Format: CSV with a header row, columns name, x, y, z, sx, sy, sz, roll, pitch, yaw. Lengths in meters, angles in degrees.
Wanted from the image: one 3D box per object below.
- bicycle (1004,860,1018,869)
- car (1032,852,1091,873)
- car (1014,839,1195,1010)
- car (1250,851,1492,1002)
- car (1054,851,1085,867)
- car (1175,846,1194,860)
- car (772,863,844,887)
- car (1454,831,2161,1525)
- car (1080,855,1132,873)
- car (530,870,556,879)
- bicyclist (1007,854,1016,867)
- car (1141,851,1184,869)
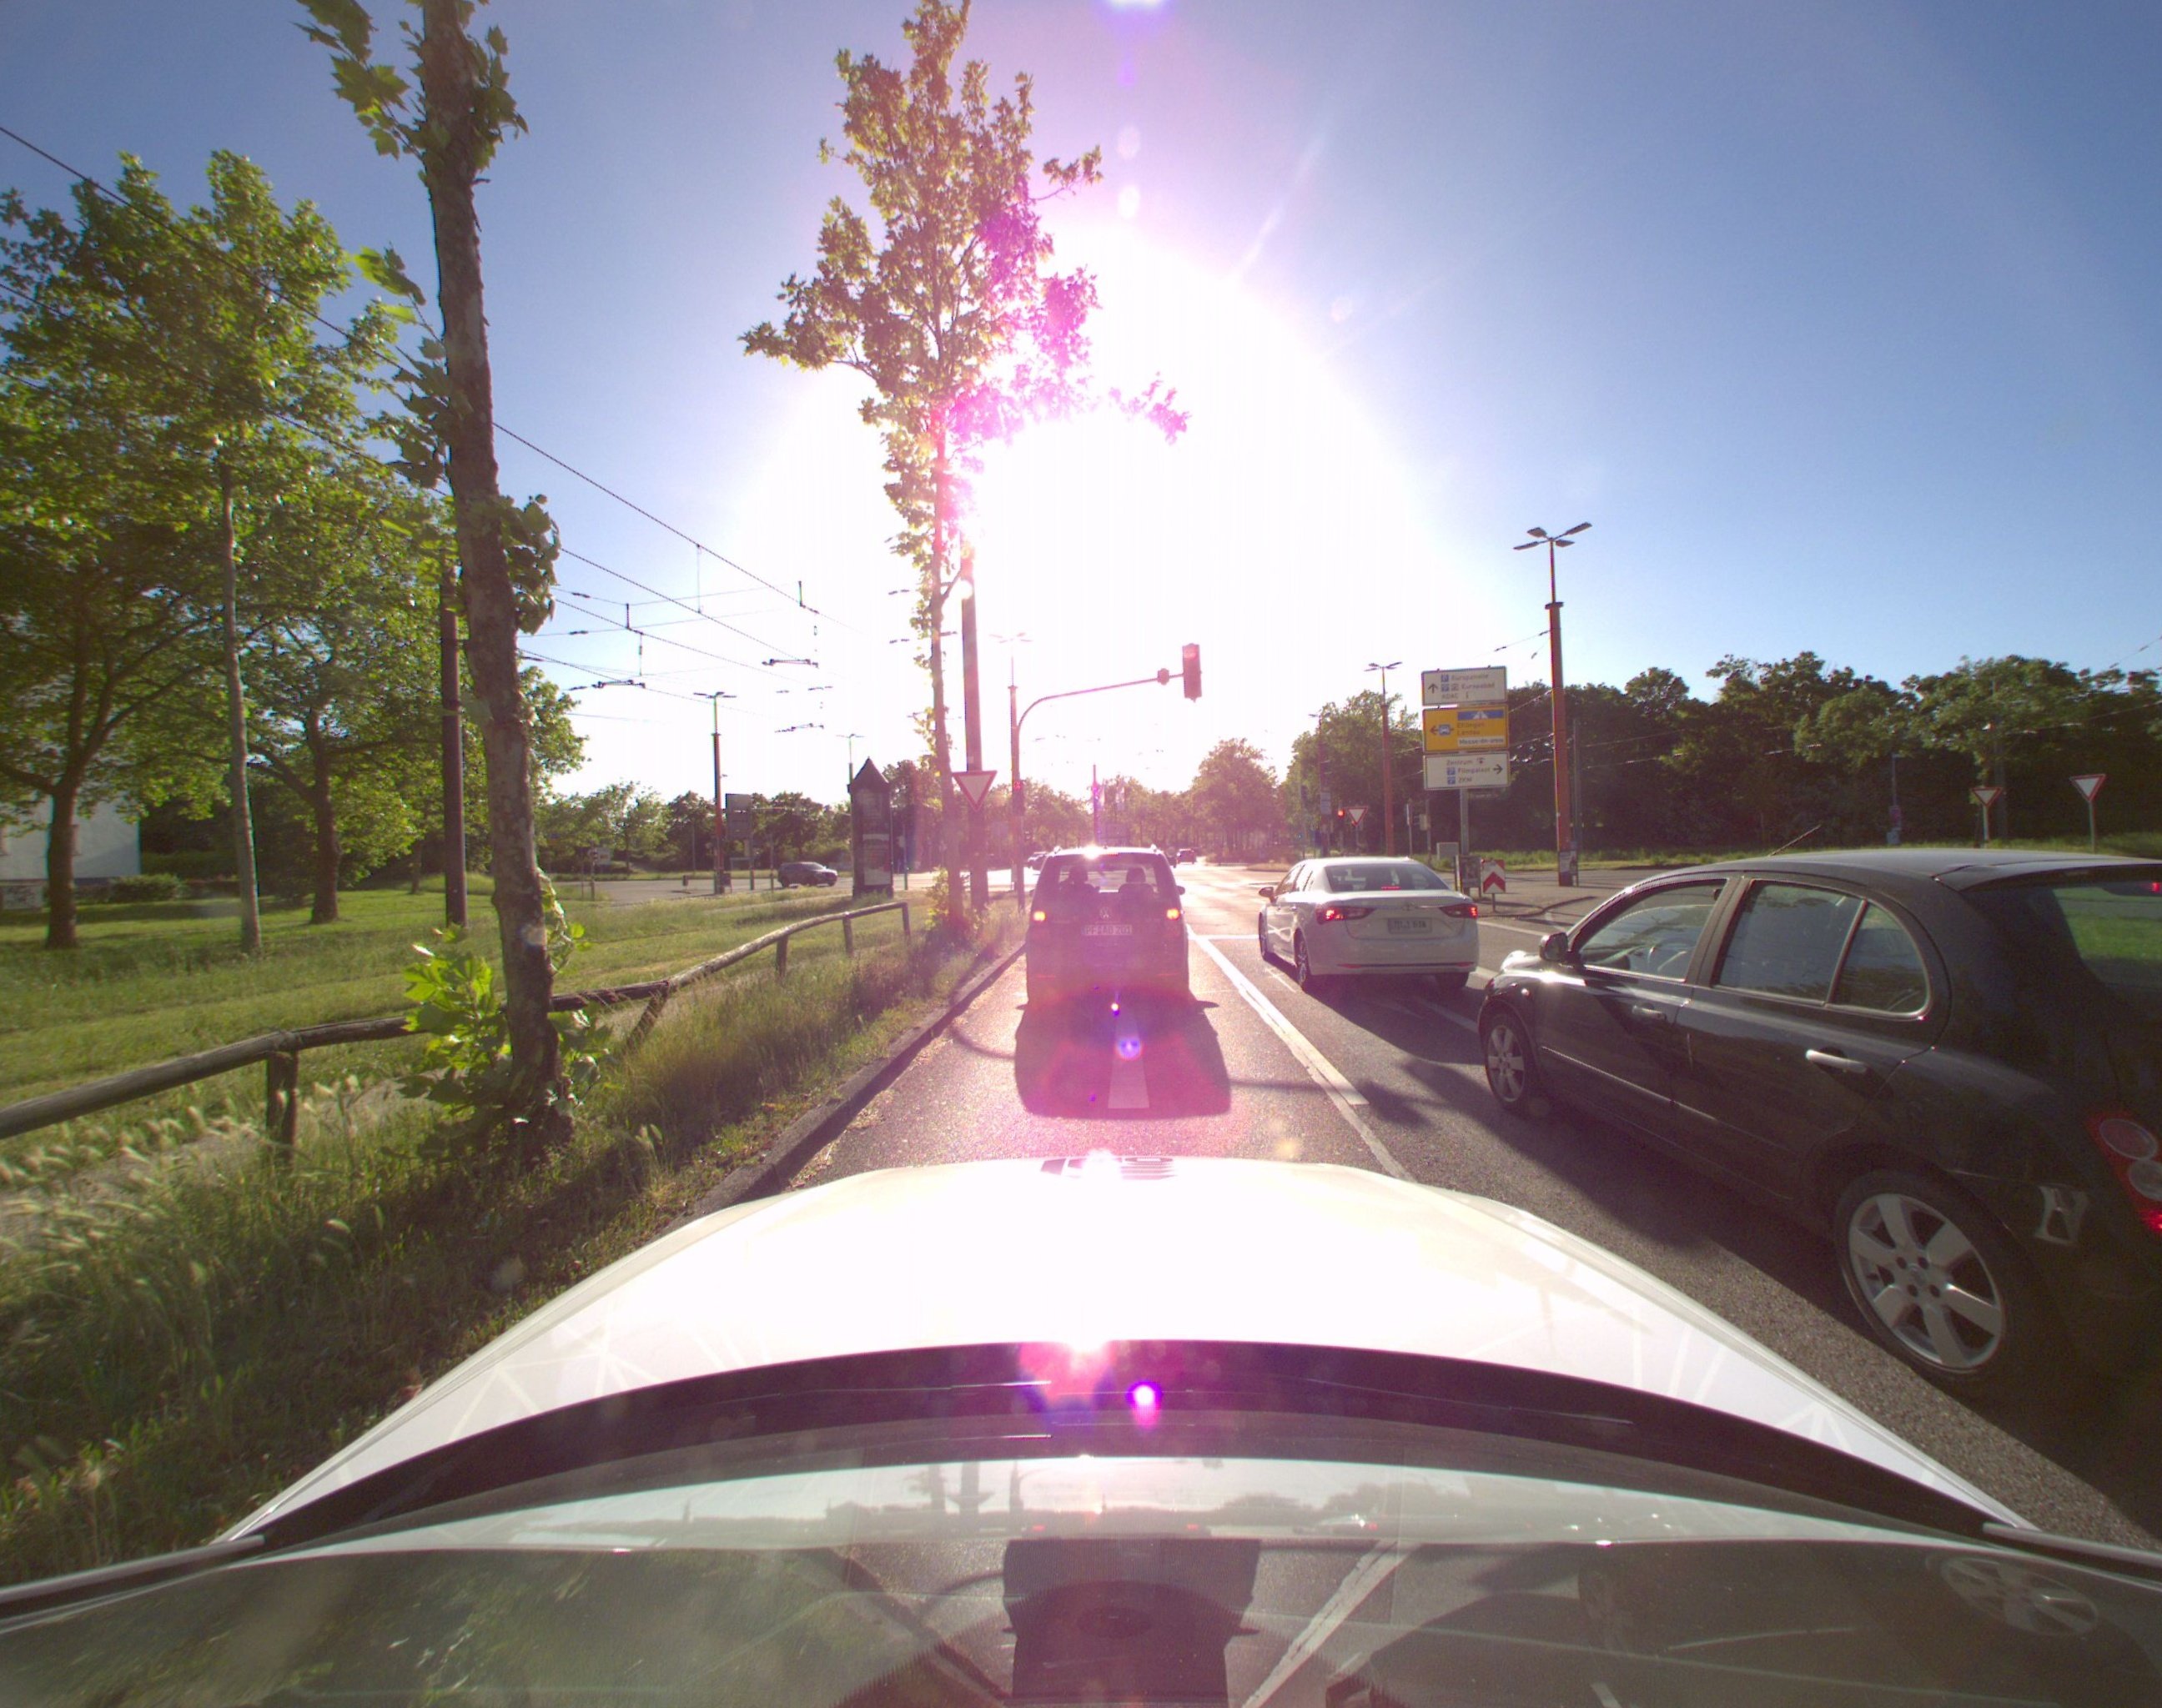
name,x,y,z,sx,sy,sz,roll,pitch,yaw
bicycle,-8.148,1.229,94.812,0.728,1.090,1.971,-2,0,21
car,-1.535,0.666,63.339,4.238,1.464,1.902,-2,0,-18
car,0.294,0.696,10.008,1.731,1.641,4.002,-2,0,2
car,3.295,0.719,10.136,1.708,1.454,4.147,-2,0,3
car,-1.264,0.515,91.967,1.977,1.684,4.853,-2,0,20
car,11.498,-0.092,90.545,1.899,1.464,4.379,-1,0,4
car,-19.061,1.483,56.805,4.589,1.543,2.012,-2,0,26
car,3.165,0.693,3.532,1.550,1.506,3.517,-2,0,2
car,2.165,0.879,70.984,4.053,1.464,1.903,-2,0,-18
car,-79.759,3.010,120.653,3.766,1.310,1.673,-2,0,30
bicyclist,-8.118,0.762,95.033,0.686,1.457,0.879,-2,-1,20
car,7.159,0.489,71.324,1.889,1.464,4.082,-2,0,36
